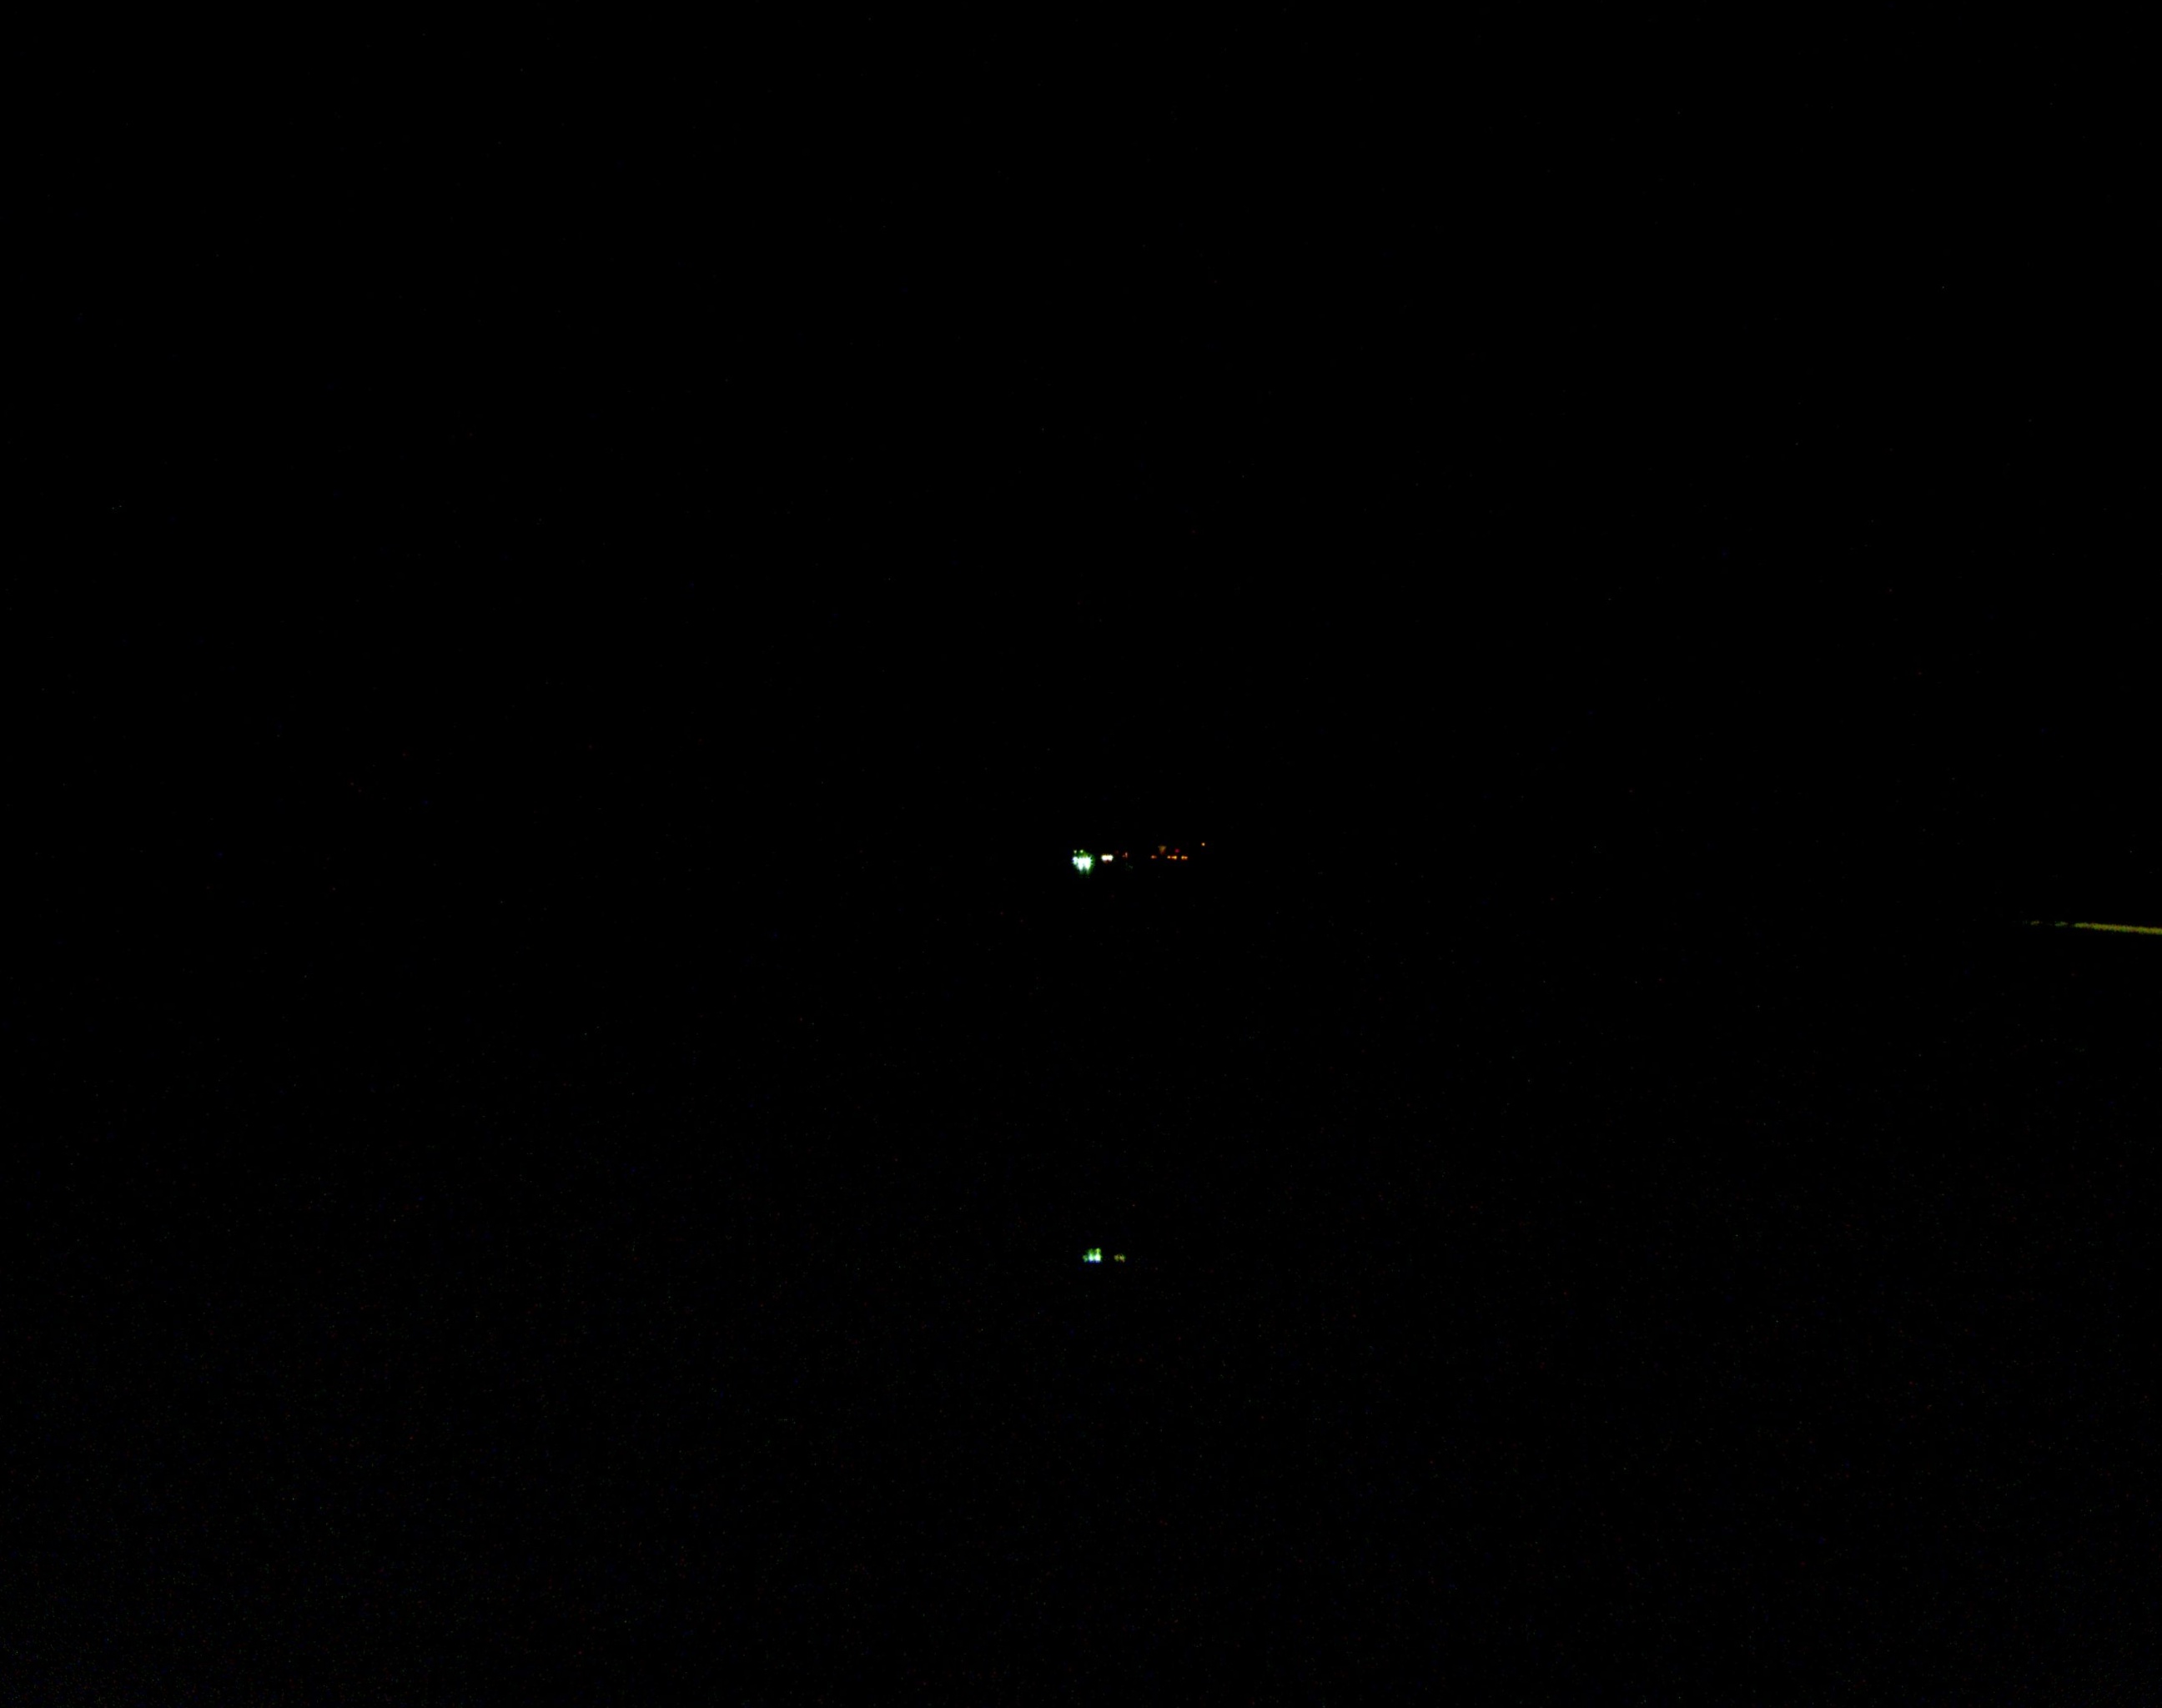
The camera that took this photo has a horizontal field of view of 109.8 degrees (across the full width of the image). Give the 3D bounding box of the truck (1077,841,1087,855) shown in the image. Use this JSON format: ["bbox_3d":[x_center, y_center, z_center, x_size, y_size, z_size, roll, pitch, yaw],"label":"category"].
[{"bbox_3d":[0.340,-1.813,236.859,2.749,4.182,13.508,-3,1,0],"label":"truck"}]

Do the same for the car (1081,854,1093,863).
[{"bbox_3d":[1.193,0.947,159.781,2.267,1.842,5.403,-3,1,0],"label":"car"}]

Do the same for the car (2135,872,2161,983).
[{"bbox_3d":[15.097,1.018,7.917,1.825,1.458,4.559,2,0,0],"label":"car"}]
